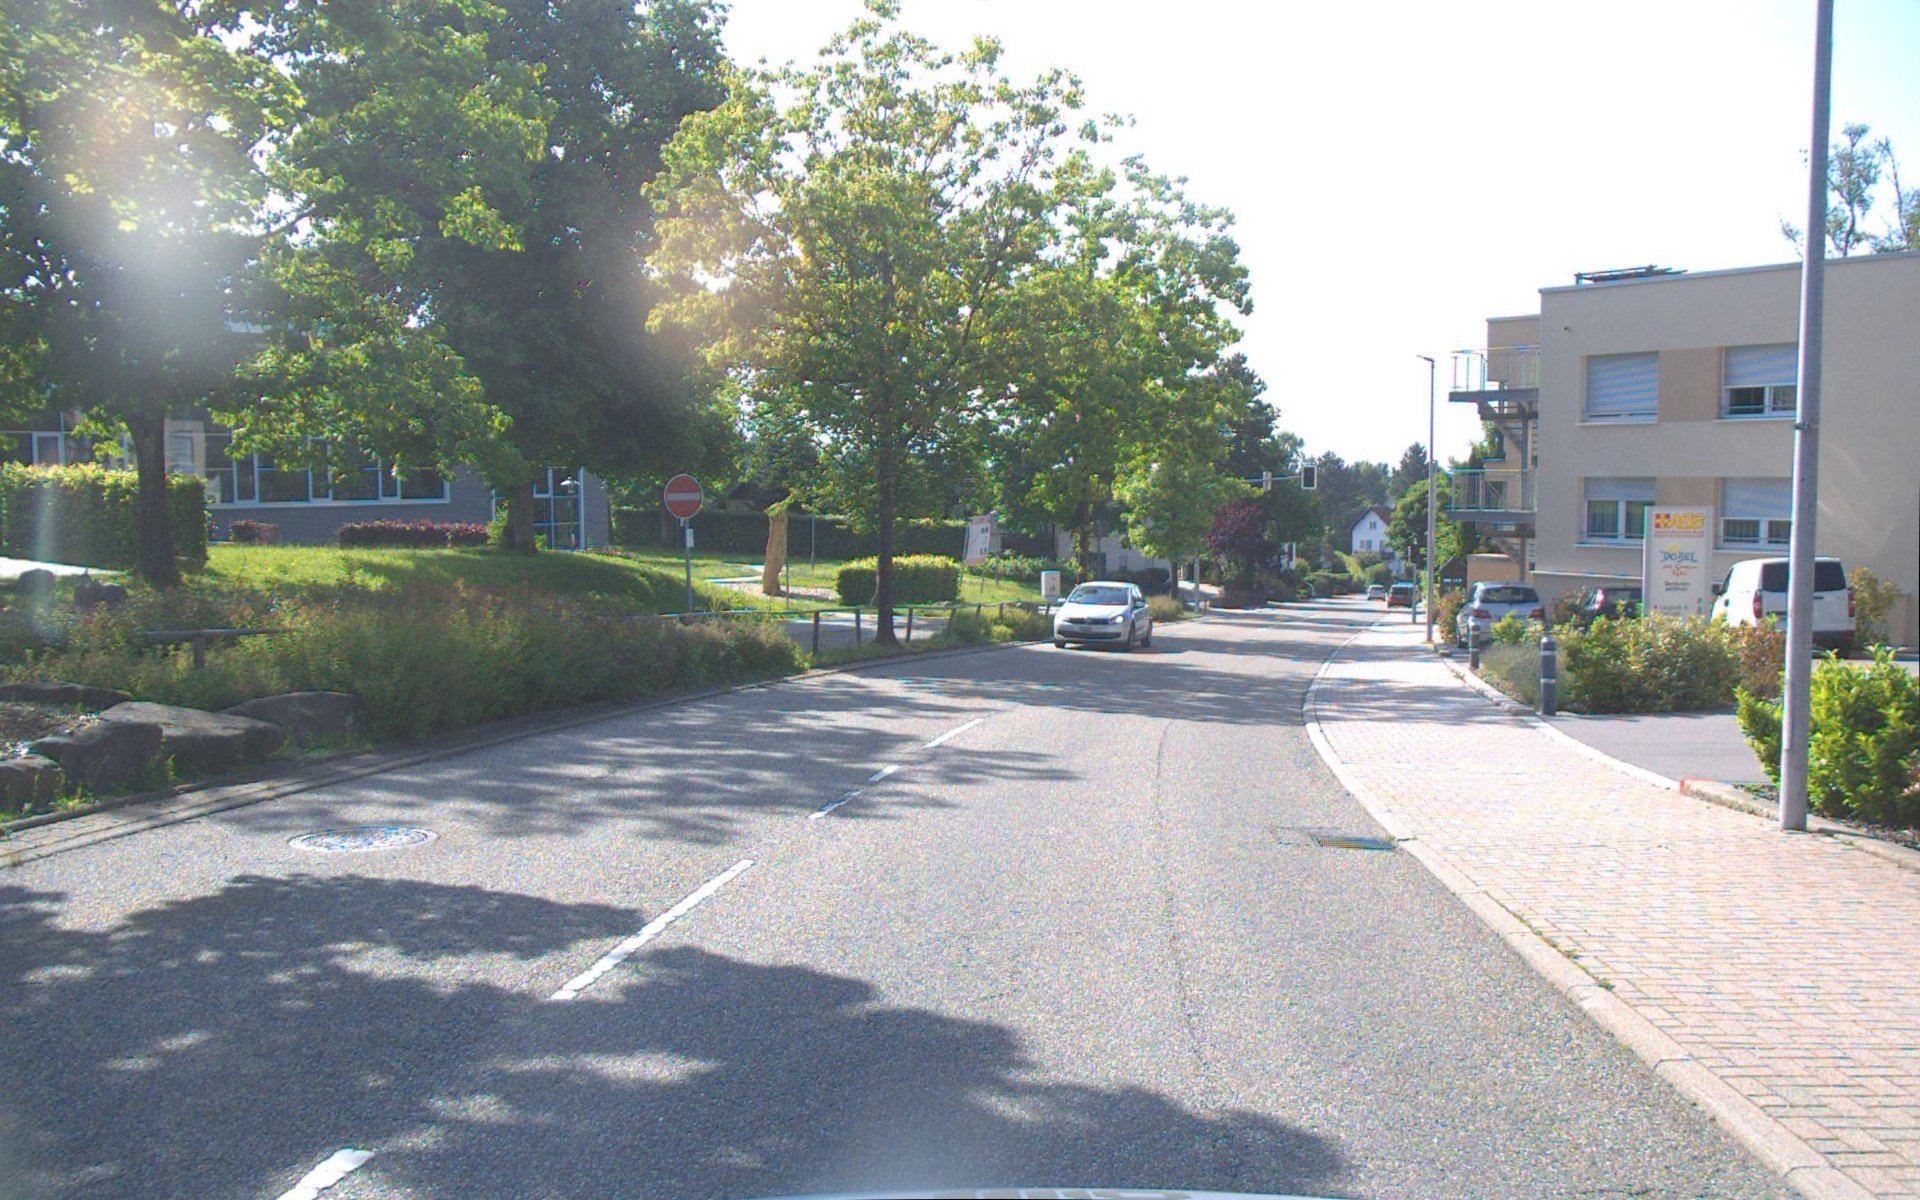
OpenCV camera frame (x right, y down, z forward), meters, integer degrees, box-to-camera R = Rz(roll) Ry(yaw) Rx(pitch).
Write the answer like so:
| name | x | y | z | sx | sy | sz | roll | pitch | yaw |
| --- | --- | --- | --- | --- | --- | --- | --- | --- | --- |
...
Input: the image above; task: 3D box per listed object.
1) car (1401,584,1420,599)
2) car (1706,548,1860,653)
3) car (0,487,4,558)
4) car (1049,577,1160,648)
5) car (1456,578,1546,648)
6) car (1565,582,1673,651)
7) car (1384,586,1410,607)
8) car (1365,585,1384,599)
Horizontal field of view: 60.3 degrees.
| name | x | y | z | sx | sy | sz | roll | pitch | yaw |
| --- | --- | --- | --- | --- | --- | --- | --- | --- | --- |
| car | 44.243 | -0.853 | 162.595 | 1.672 | 1.452 | 4.011 | 1 | 1 | 13 |
| car | 16.626 | -0.015 | 33.652 | 1.765 | 1.969 | 4.738 | 1 | 1 | 14 |
| car | -23.313 | -1.684 | 35.278 | 1.964 | 1.559 | 4.708 | 7 | 7 | 38 |
| car | 3.328 | 0.241 | 37.559 | 1.692 | 1.468 | 4.067 | 2 | 1 | 16 |
| car | 12.726 | 0.271 | 39.053 | 1.672 | 1.562 | 4.011 | 1 | 1 | 13 |
| car | 14.811 | 0.335 | 37.328 | 1.672 | 1.452 | 4.011 | 1 | 1 | 13 |
| car | 32.143 | -0.283 | 121.737 | 1.672 | 1.452 | 4.011 | 1 | 1 | 13 |
| car | 41.912 | -0.814 | 167.234 | 1.672 | 1.452 | 4.009 | 1 | 1 | 17 |
